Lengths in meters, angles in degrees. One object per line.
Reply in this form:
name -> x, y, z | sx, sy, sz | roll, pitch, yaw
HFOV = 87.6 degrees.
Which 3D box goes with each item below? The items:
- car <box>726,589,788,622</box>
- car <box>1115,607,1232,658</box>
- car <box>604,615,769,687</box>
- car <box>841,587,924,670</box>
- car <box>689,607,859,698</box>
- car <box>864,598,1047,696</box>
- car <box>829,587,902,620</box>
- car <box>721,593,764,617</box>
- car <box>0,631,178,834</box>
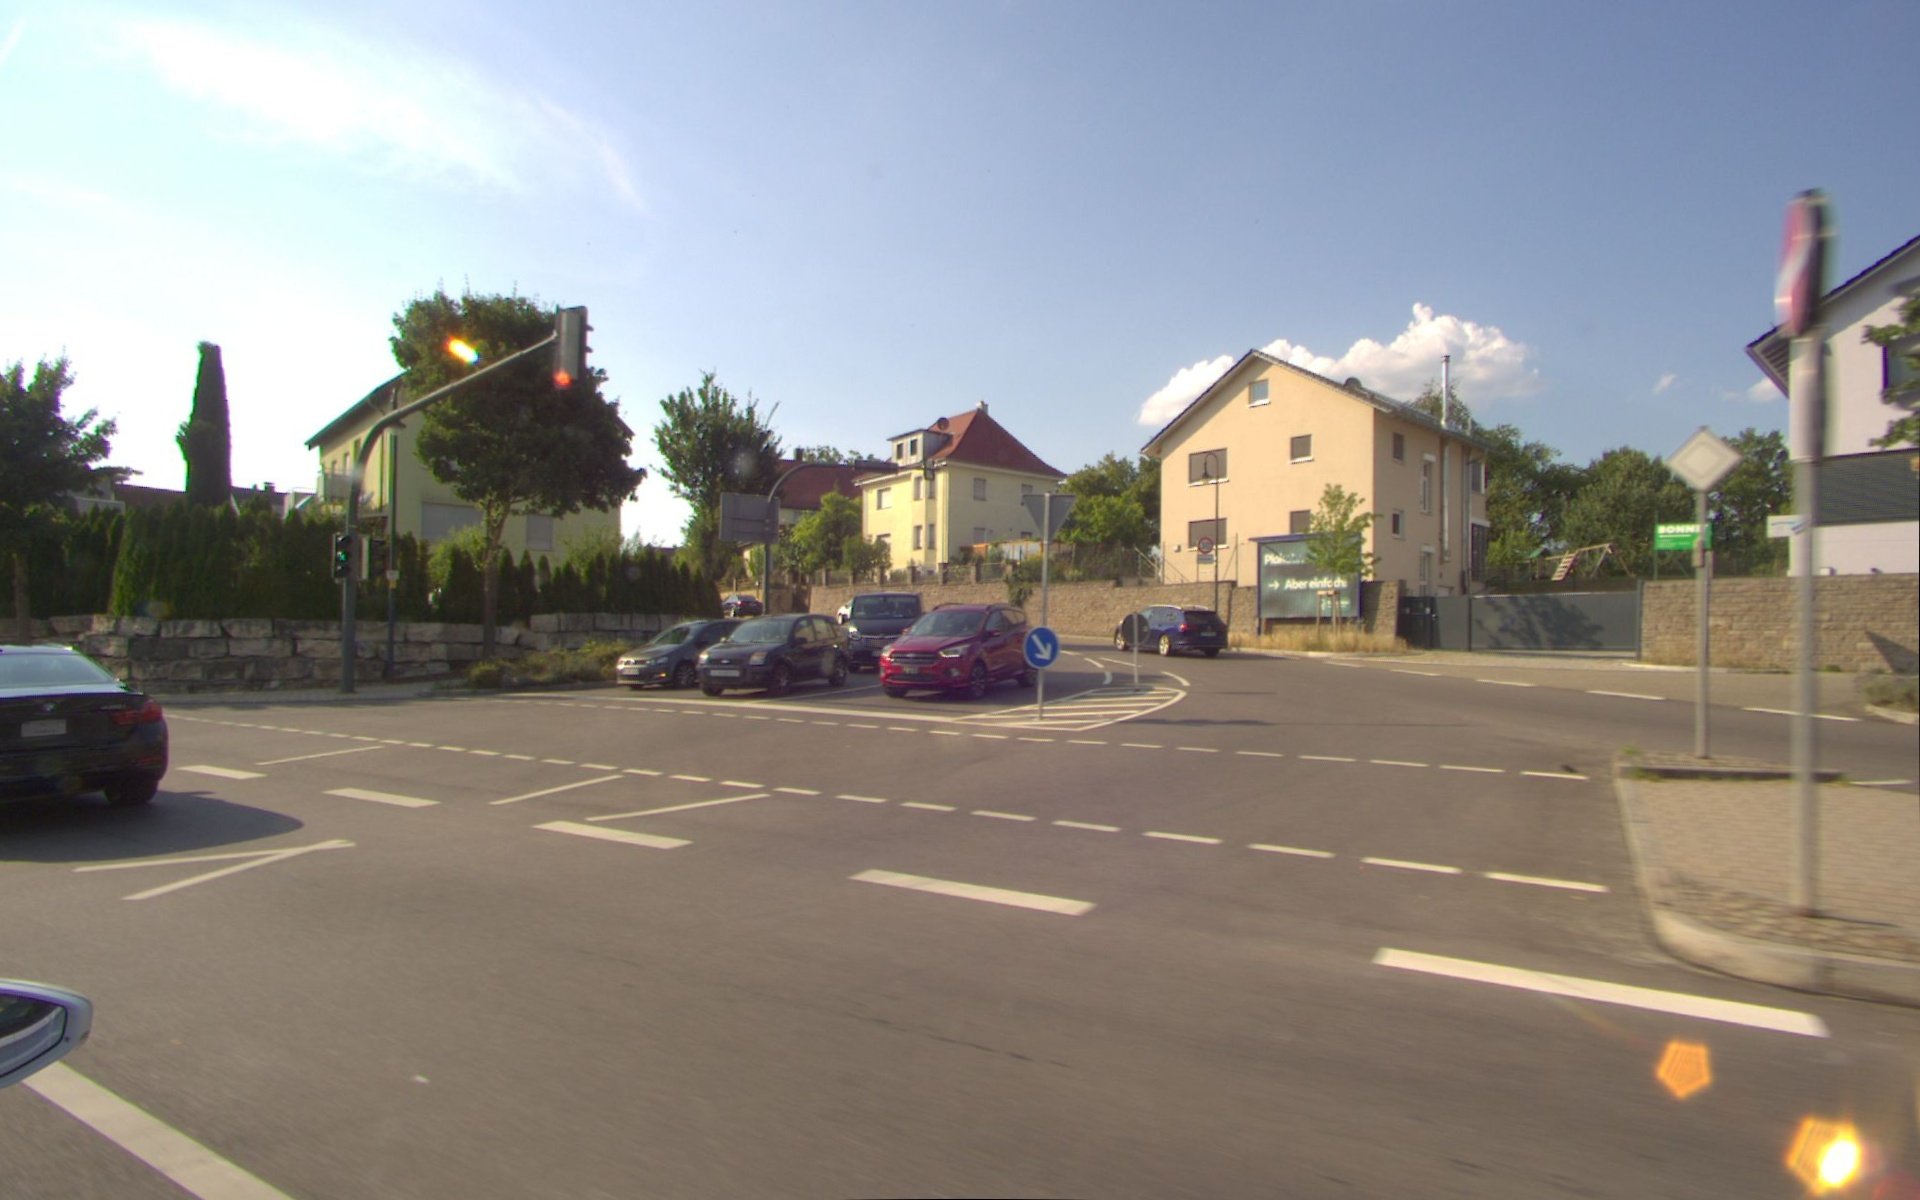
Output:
car -> -10.844, 0.317, 53.442 | 1.973, 1.664, 3.977 | 1, -2, -32
car -> 6.246, 0.947, 29.835 | 1.606, 1.428, 4.271 | 1, -1, -16
car -> -6.122, 1.105, 22.798 | 1.601, 1.468, 3.595 | -1, -1, 28
car -> -1.943, 0.754, 26.484 | 1.961, 1.956, 5.180 | 1, -2, -2
car -> -3.579, 0.965, 19.973 | 1.571, 1.562, 3.789 | 0, 1, 21
car -> 0.054, 0.851, 19.120 | 1.832, 1.646, 4.240 | 0, -2, 26
car -> -4.683, 0.199, 49.111 | 1.844, 1.513, 3.973 | 1, -2, -35
car -> -13.555, 0.340, 62.213 | 1.789, 1.361, 3.986 | 1, -2, -24
car -> -8.463, 0.980, 8.417 | 4.201, 1.386, 1.696 | 0, -1, 33
